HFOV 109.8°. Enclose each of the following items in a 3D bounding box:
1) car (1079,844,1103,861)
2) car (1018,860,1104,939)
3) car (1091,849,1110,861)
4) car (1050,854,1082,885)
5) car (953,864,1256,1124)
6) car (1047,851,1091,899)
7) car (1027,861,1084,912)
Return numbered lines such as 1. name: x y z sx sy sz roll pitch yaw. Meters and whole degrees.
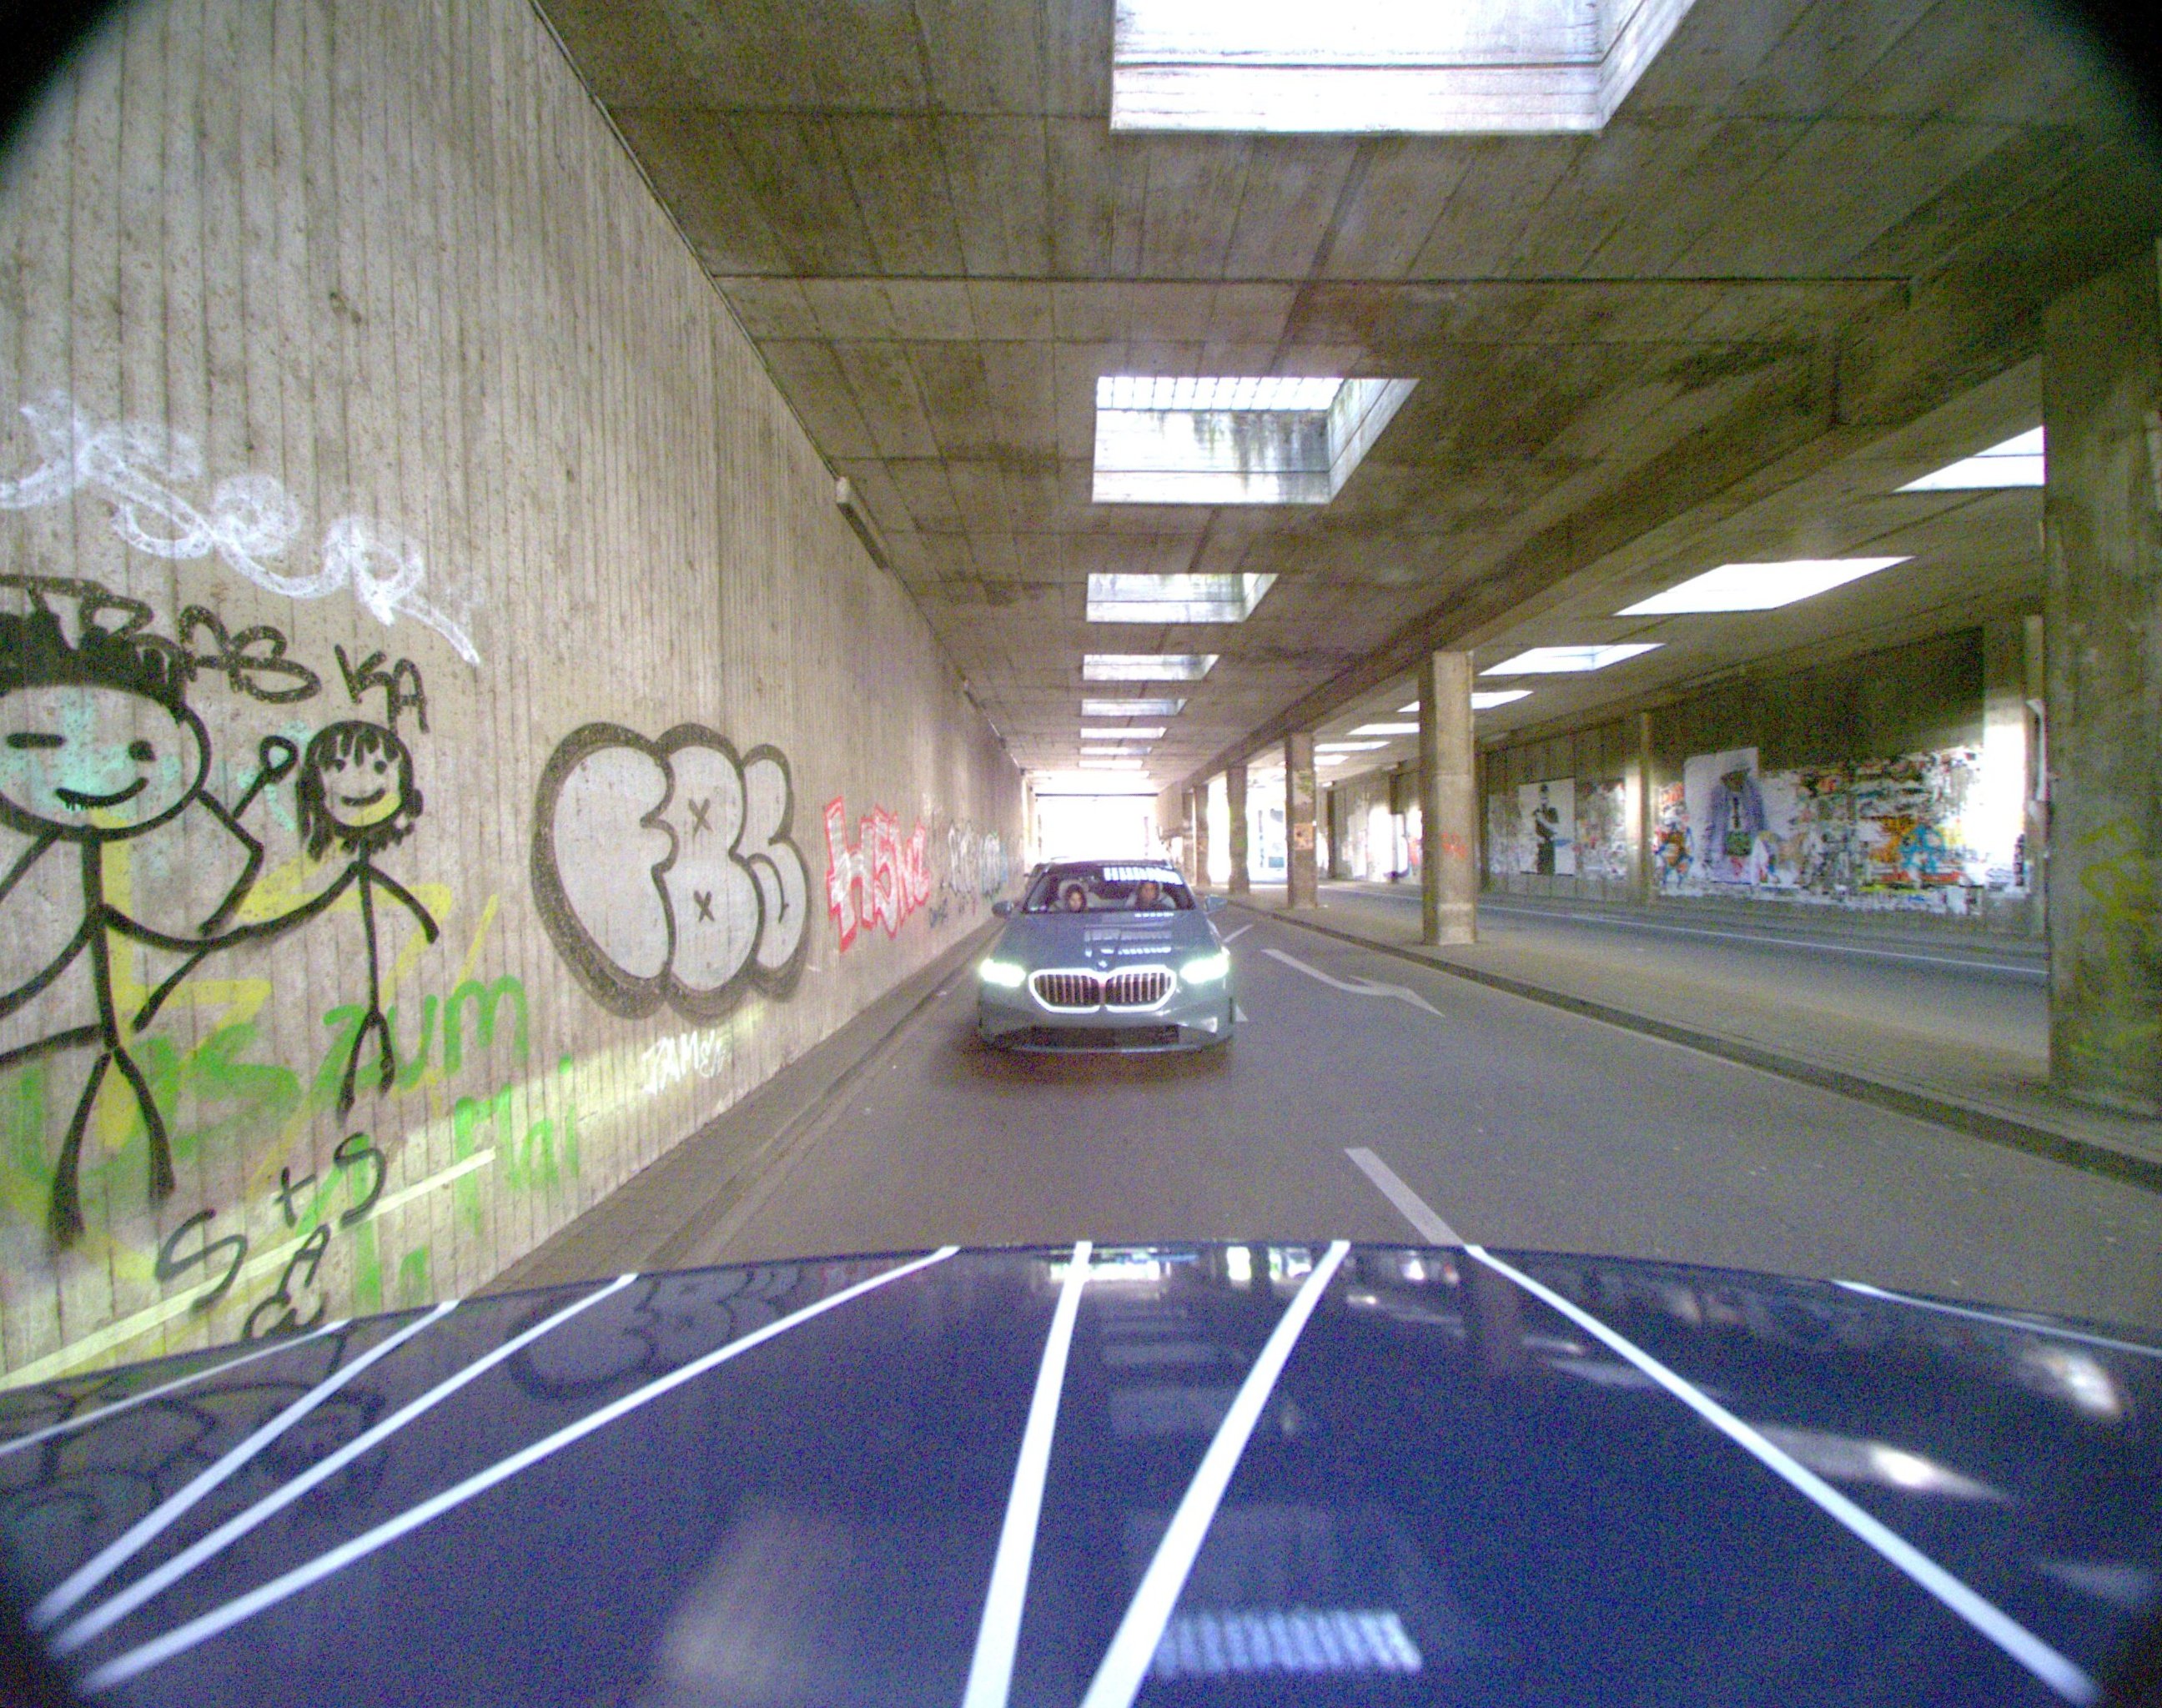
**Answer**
1. car: 1.304 -0.180 103.668 2.161 2.150 4.785 -2 0 -12
2. car: -0.413 0.927 17.296 1.679 1.516 3.969 -2 0 0
3. car: 2.500 0.149 97.976 1.741 1.519 3.786 -2 0 -9
4. car: -0.791 0.815 41.256 1.592 1.562 3.694 -2 0 0
5. car: 0.139 0.912 7.287 1.861 1.516 5.042 -2 0 0
6. car: -0.449 0.779 29.929 1.592 1.711 3.694 -2 0 0
7. car: -0.748 0.956 23.922 1.592 1.432 3.806 -2 0 0
